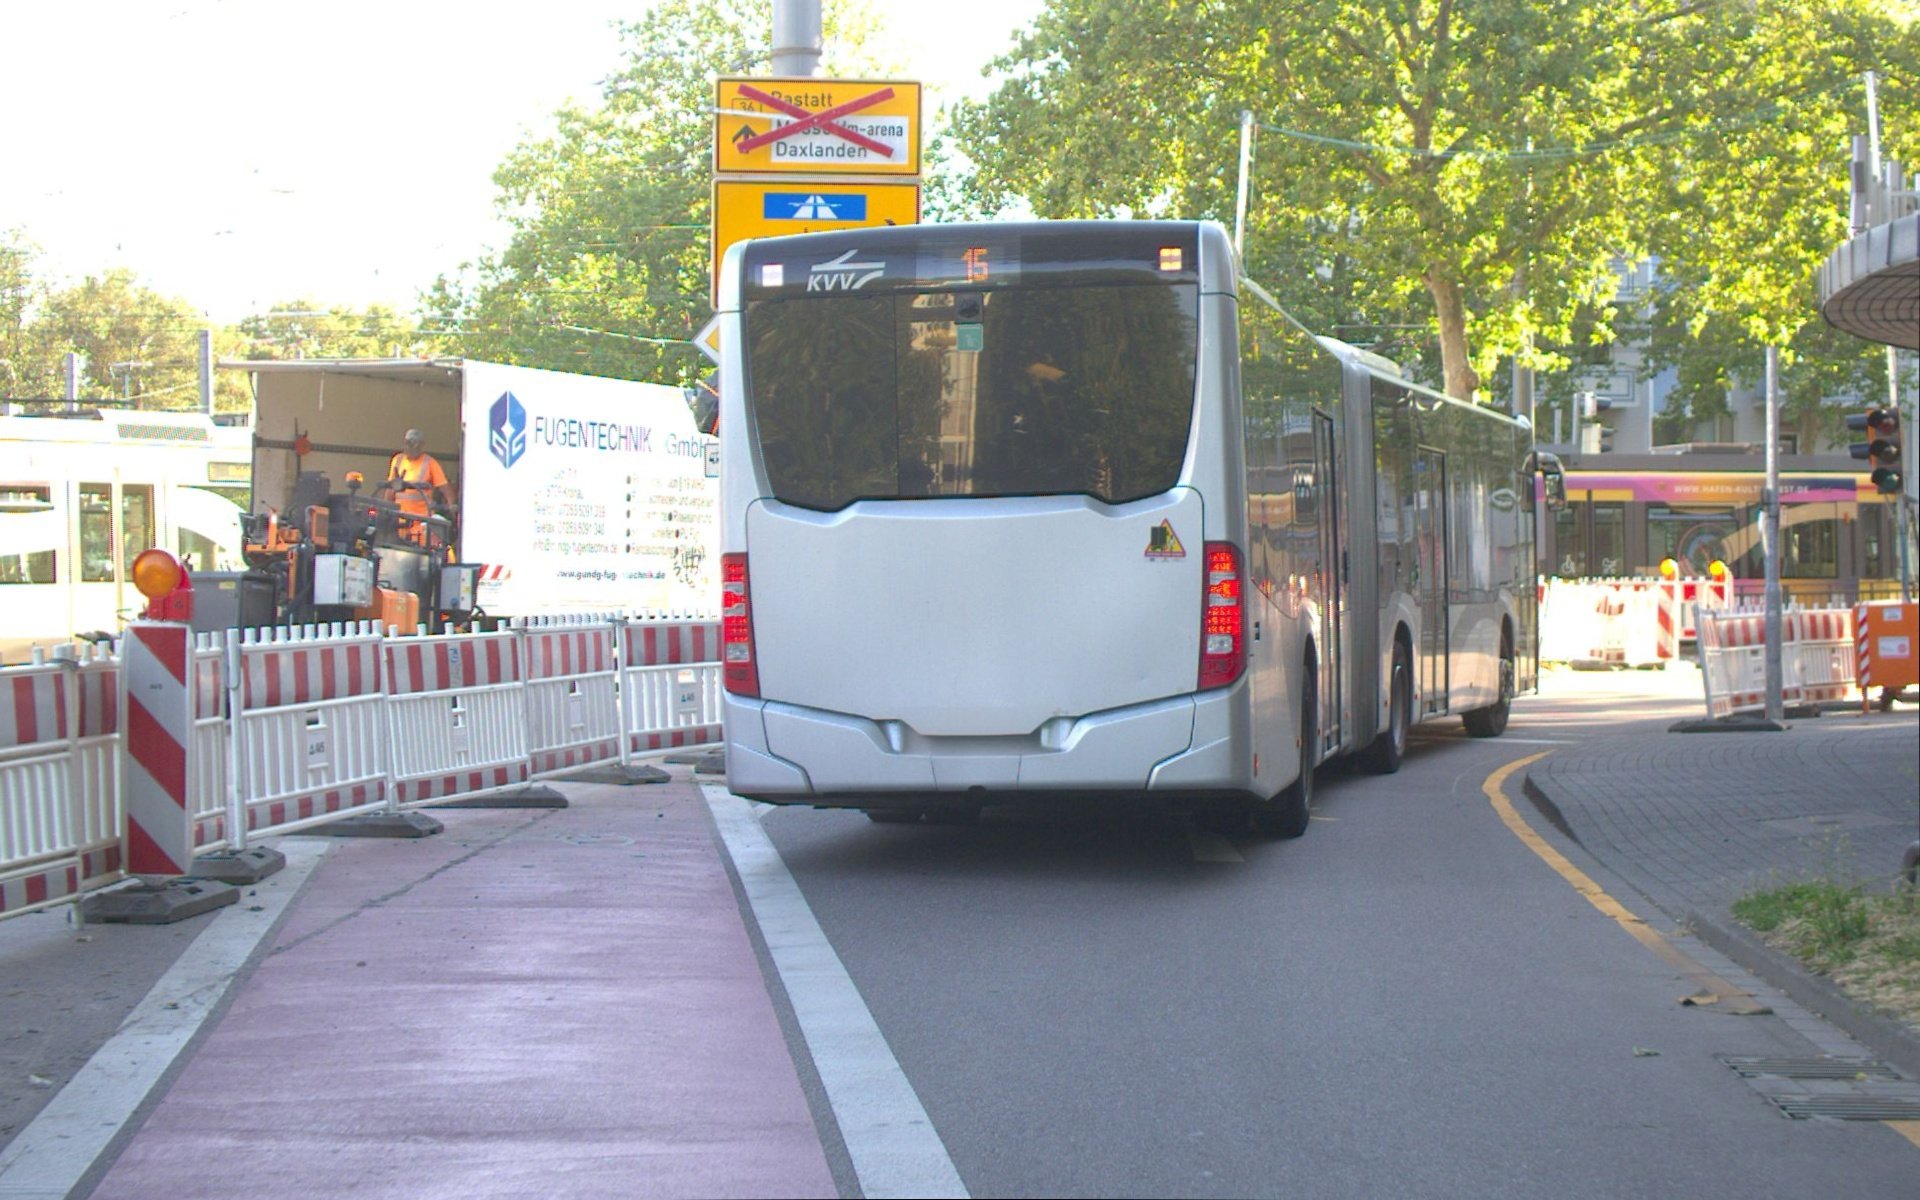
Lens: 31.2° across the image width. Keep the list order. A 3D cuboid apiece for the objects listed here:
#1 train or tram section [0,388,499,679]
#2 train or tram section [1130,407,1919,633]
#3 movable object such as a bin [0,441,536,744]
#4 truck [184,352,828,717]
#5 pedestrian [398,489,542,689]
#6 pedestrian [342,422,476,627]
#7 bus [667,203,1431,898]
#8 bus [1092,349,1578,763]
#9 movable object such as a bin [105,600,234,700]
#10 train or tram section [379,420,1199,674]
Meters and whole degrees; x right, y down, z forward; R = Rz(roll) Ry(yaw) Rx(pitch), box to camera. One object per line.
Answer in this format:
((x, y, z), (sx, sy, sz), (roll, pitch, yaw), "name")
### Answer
((-11.630, -0.809, 43.860), (2.856, 3.521, 13.367), (0, 0, 37), "train or tram section")
((9.603, -1.255, 56.869), (13.285, 3.507, 2.650), (0, 0, -12), "train or tram section")
((-5.735, -0.106, 28.594), (1.996, 2.249, 5.201), (2, 1, 23), "movable object such as a bin")
((-4.674, -0.702, 37.918), (2.815, 3.529, 8.972), (1, 1, 23), "truck")
((-4.490, -0.111, 31.541), (0.973, 1.792, 1.069), (1, 1, 13), "pedestrian")
((-5.488, -0.764, 34.289), (0.937, 2.006, 1.000), (1, 2, 21), "pedestrian")
((1.092, -0.323, 20.996), (2.735, 3.128, 10.698), (1, 1, 12), "bus")
((3.592, -0.398, 30.400), (2.710, 3.096, 8.973), (1, 1, 16), "bus")
((-7.520, 0.464, 32.758), (0.932, 0.914, 1.420), (0, 0, -2), "movable object such as a bin")
((-2.339, -0.710, 52.346), (12.742, 3.537, 2.737), (0, 0, -32), "train or tram section")
